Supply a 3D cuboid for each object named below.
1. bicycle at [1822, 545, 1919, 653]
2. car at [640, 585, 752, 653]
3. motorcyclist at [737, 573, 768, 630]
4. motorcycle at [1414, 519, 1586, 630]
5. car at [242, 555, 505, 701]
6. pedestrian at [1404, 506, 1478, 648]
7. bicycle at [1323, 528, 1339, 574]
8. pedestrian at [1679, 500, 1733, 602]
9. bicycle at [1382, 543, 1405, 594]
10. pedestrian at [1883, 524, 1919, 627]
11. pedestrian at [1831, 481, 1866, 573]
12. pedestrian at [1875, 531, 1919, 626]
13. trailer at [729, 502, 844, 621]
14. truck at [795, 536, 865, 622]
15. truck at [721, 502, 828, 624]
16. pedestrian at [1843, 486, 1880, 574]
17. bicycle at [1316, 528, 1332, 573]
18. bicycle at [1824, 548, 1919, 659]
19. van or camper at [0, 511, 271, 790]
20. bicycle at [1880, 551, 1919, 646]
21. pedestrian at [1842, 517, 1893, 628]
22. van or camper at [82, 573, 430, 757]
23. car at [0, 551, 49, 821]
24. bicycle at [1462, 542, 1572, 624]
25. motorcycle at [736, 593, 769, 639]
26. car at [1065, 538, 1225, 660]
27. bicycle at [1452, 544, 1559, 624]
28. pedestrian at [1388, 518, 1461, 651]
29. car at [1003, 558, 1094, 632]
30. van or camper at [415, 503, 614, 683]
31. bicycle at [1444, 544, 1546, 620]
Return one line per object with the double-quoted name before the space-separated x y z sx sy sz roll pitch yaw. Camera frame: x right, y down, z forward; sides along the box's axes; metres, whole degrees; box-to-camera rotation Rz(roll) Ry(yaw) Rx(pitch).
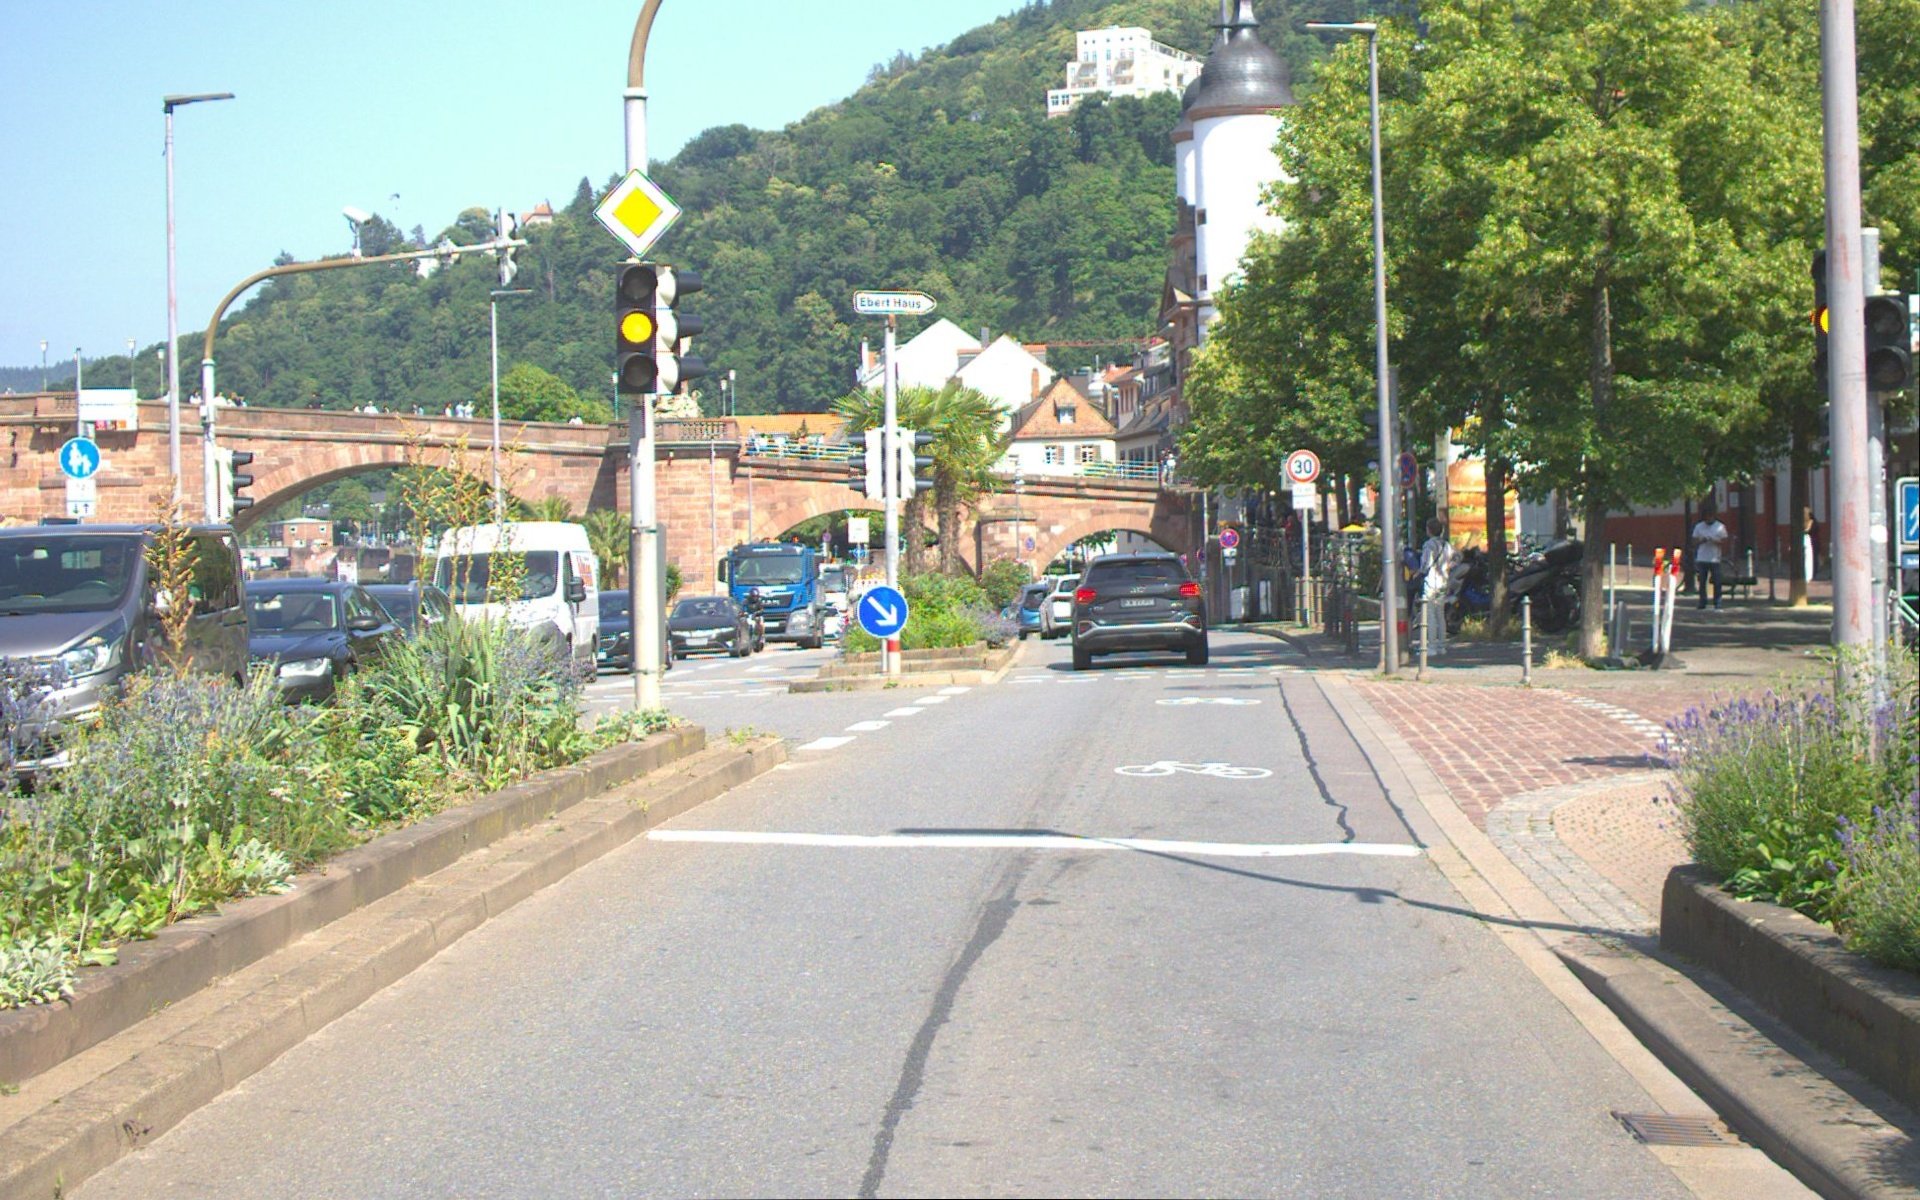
"bicycle" 10.729 -0.008 38.620 2.013 1.194 0.521 1 1 14
"car" -6.033 0.439 79.066 1.952 1.408 4.218 -3 -1 3
"motorcyclist" -5.386 0.029 89.273 0.736 1.465 1.011 -1 1 -1
"motorcycle" 7.555 -0.354 48.157 2.297 1.460 0.762 -2 0 43
"car" -6.451 0.259 38.320 1.952 1.404 4.570 -4 1 2
"pedestrian" 6.174 -0.298 44.138 0.693 1.765 0.764 -3 1 -6
"bicycle" 8.793 -1.158 81.590 0.250 1.092 1.489 1 1 2
"pedestrian" 12.210 -0.805 56.268 0.707 1.647 0.707 -1 1 2
"bicycle" 8.571 -0.632 68.004 0.250 0.997 1.489 1 1 0
"pedestrian" 12.969 -0.334 46.785 0.625 1.377 0.542 1 1 -6
"pedestrian" 19.417 -1.599 75.161 0.585 2.007 0.596 -1 1 1
"pedestrian" 12.731 -0.298 45.975 0.693 1.248 0.764 -2 1 -6
"trailer" -5.190 -1.183 104.122 2.658 3.392 8.826 -1 1 2
"truck" -5.313 -0.889 141.077 2.657 3.392 5.135 -1 1 -1
"truck" -5.348 -1.087 99.751 2.658 3.392 4.449 -1 1 2
"pedestrian" 19.057 -1.480 72.673 0.585 1.834 0.596 -1 1 1
"bicycle" 8.847 -1.198 83.516 0.250 1.092 1.489 1 1 2
"bicycle" 10.624 0.044 38.123 2.000 1.194 0.521 1 2 14
"van or camper" -6.706 0.331 25.924 1.993 1.867 5.180 -2 1 -1
"bicycle" 11.128 -0.032 39.974 0.594 1.064 2.063 -2 0 21
"pedestrian" 12.448 -0.375 47.169 0.459 1.512 0.690 0 1 -6
"van or camper" -6.370 0.533 31.747 1.993 1.472 5.065 -3 0 2
"car" -6.645 0.593 18.883 1.993 1.593 5.158 -4 1 -2
"bicycle" 8.013 -0.243 49.487 1.484 1.116 0.294 -2 0 0
"motorcycle" -5.380 0.403 89.234 0.757 1.128 2.456 -1 1 -1
"car" 2.434 -0.021 46.248 1.926 1.548 4.832 0 0 1
"bicycle" 8.041 -0.232 50.664 1.483 1.116 0.294 -2 0 -3
"pedestrian" 6.009 -0.201 44.528 0.693 1.671 0.764 -3 1 -6
"car" 2.032 -0.144 78.273 1.993 1.548 4.832 -1 1 2
"van or camper" -6.544 -0.104 51.058 1.993 2.441 5.494 -3 0 2
"bicycle" 8.248 -0.277 53.017 1.483 1.116 0.251 -2 0 -3
